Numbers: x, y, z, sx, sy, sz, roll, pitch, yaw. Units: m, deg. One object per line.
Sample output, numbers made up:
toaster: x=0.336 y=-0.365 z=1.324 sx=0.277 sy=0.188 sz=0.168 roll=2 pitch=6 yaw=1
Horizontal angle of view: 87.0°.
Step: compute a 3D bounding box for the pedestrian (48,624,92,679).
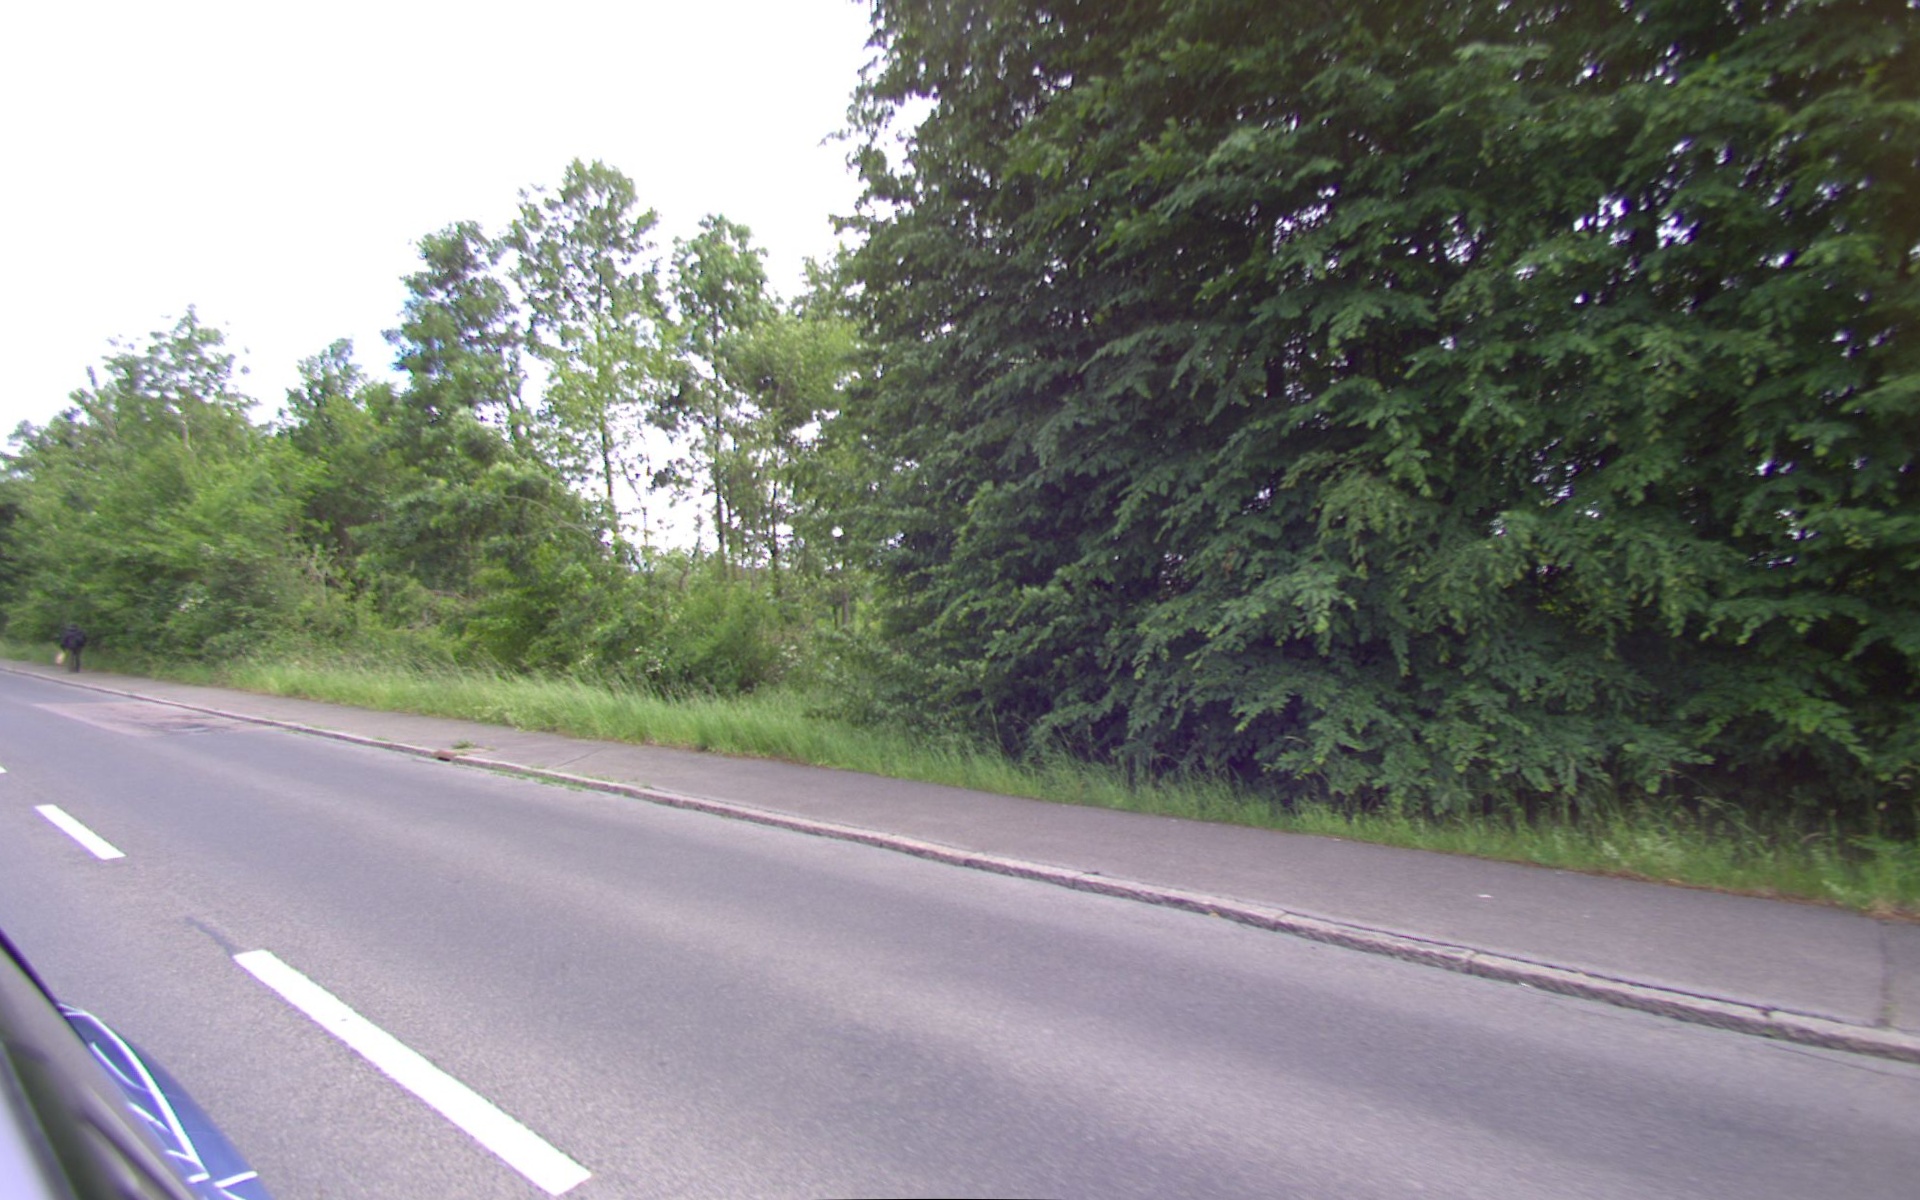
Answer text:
pedestrian: x=-29.369 y=1.712 z=33.394 sx=0.788 sy=1.783 sz=0.860 roll=-2 pitch=-5 yaw=36
